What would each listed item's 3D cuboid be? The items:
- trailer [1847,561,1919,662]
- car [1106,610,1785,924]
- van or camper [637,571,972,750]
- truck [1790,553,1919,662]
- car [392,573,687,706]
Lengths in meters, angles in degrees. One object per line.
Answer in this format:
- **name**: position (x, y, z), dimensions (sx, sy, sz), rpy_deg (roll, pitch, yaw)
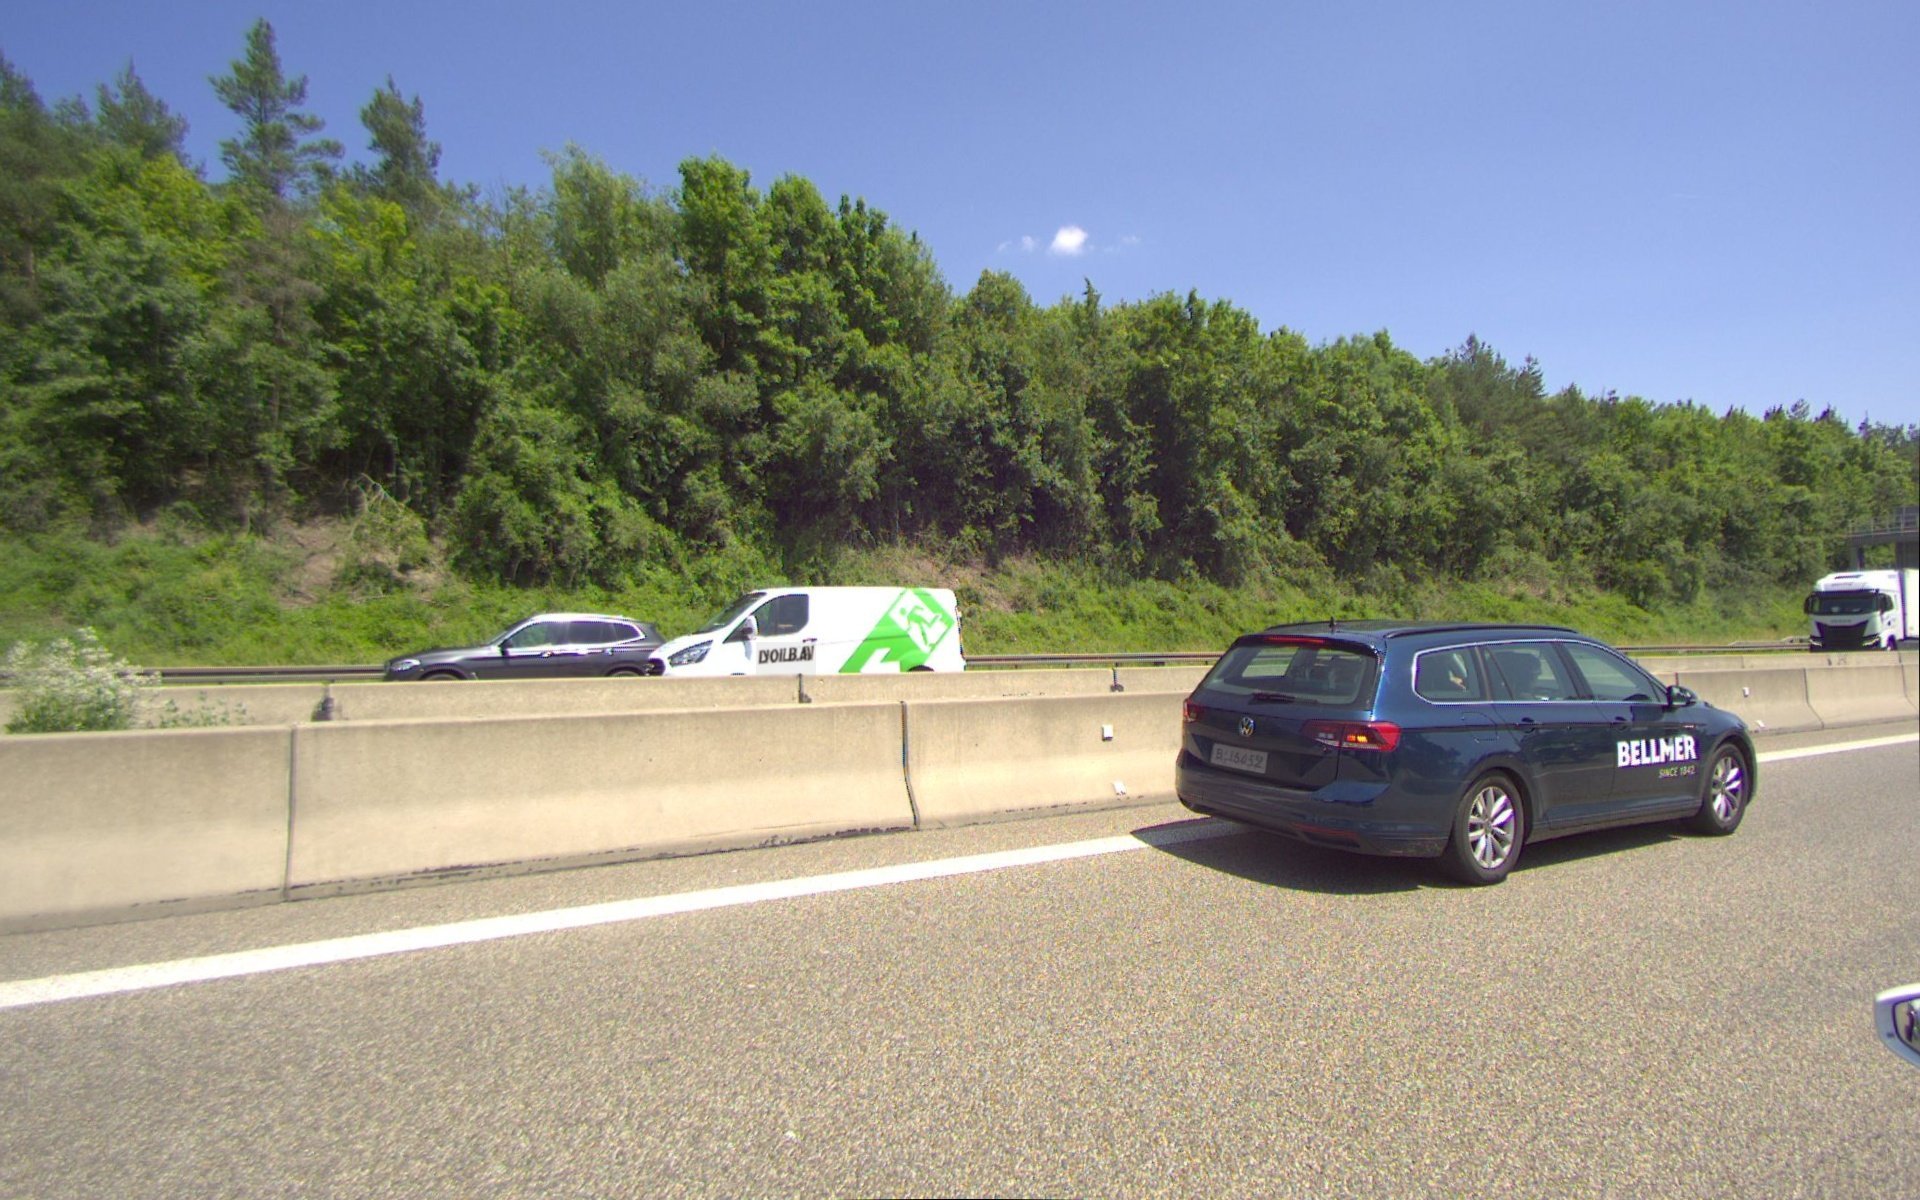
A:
- **trailer**: position (47.499, 0.685, 49.098), dimensions (10.690, 4.541, 2.935), rpy_deg (2, 0, -30)
- **car**: position (3.397, 0.867, 6.780), dimensions (4.623, 1.469, 1.865), rpy_deg (2, 0, -30)
- **van or camper**: position (-2.355, 0.973, 15.561), dimensions (4.751, 2.415, 1.986), rpy_deg (2, -6, -30)
- **truck**: position (40.843, 0.428, 45.166), dimensions (7.429, 4.541, 2.935), rpy_deg (2, 0, -30)
- **car**: position (-7.302, 0.668, 17.557), dimensions (4.430, 2.040, 2.101), rpy_deg (2, 0, -33)
